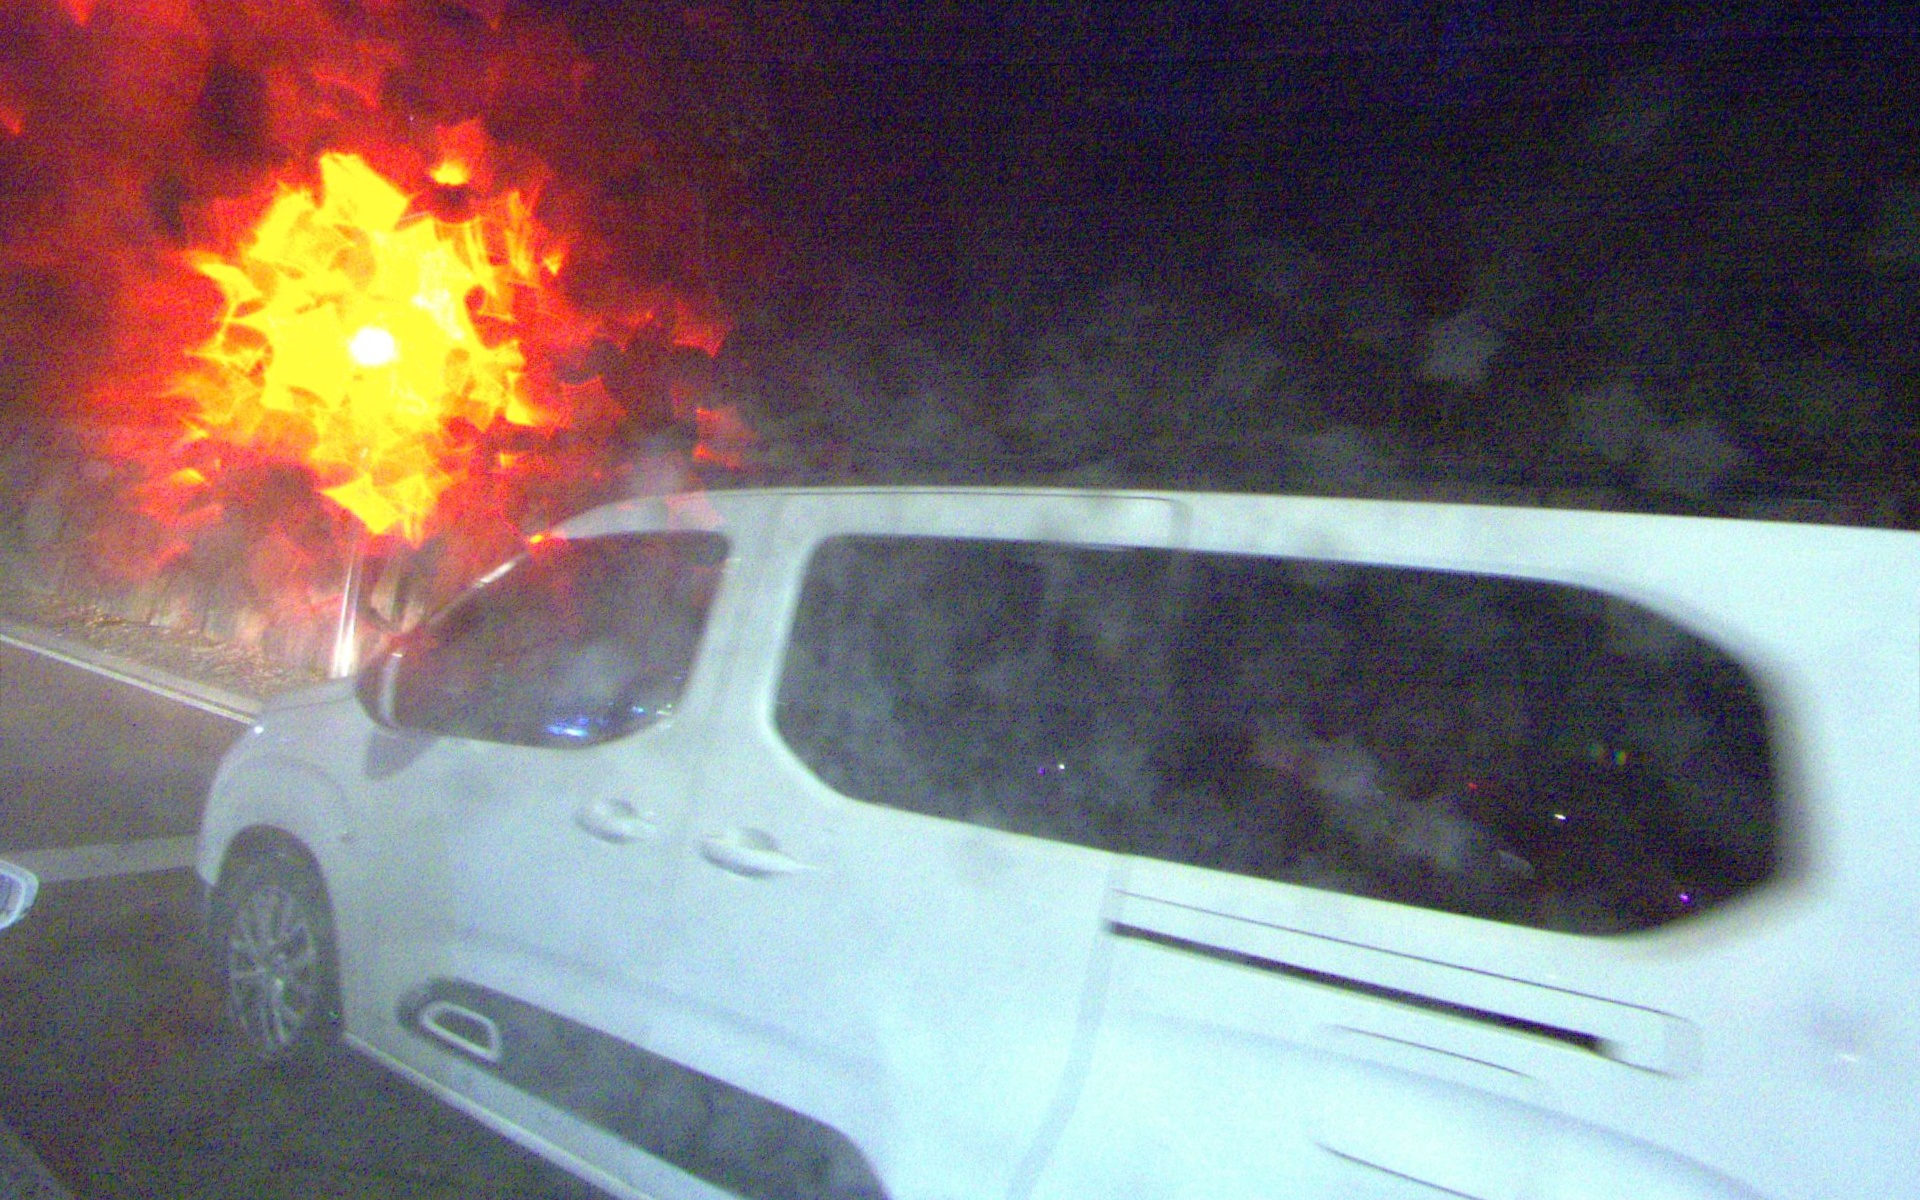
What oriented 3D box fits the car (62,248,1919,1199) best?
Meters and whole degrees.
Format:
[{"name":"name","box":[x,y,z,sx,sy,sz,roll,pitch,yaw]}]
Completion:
[{"name":"car","box":[-0.262,0.539,2.765,4.501,2.046,1.795,7,-1,30]}]
